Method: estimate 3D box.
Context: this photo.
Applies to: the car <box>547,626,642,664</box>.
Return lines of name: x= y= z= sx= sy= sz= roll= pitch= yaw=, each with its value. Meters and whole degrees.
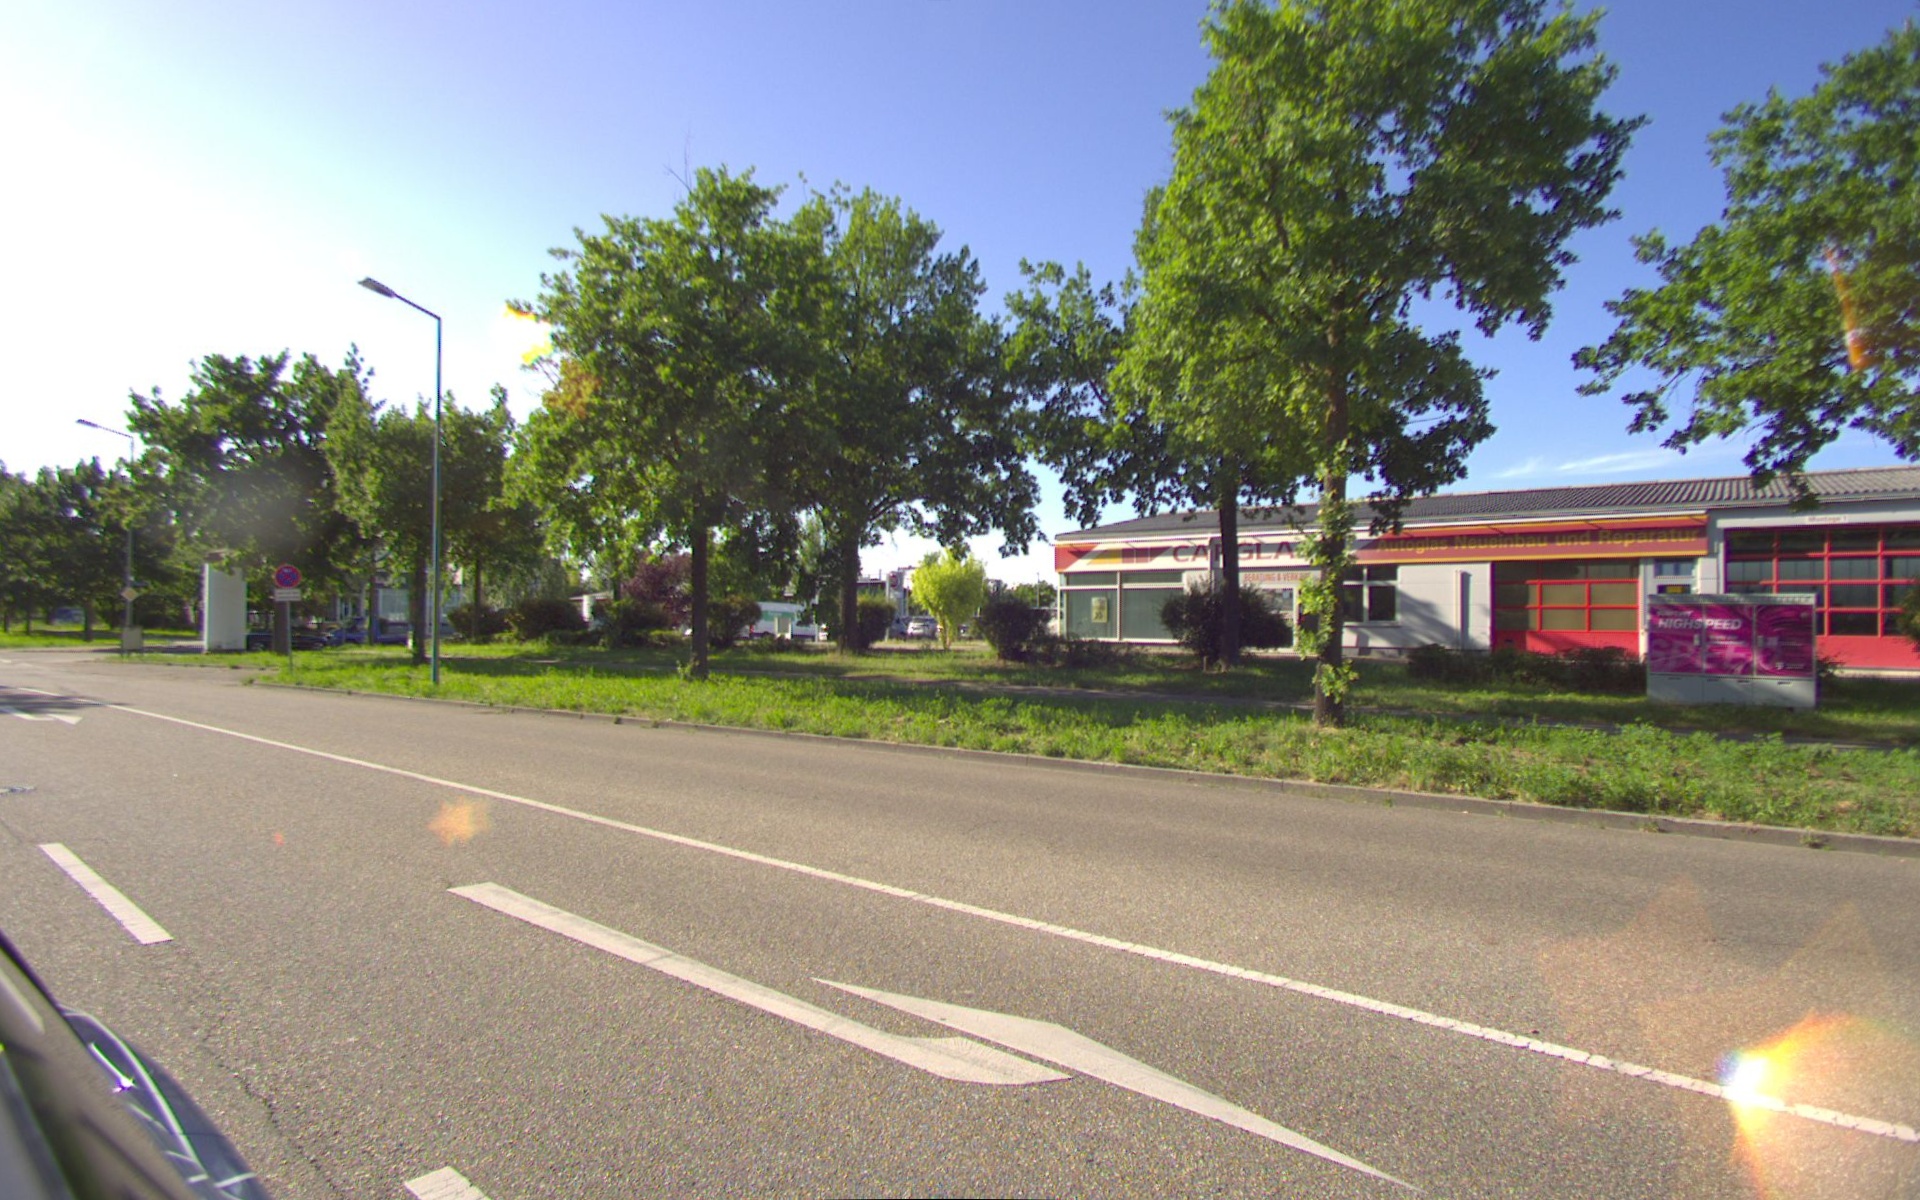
car: x=-26.631 y=3.234 z=73.979 sx=2.297 sy=2.535 sz=6.280 roll=0 pitch=0 yaw=37

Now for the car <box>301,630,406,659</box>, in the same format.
car: x=-33.616 y=2.489 z=56.167 sx=1.996 sy=1.414 sz=4.531 roll=-1 pitch=-5 yaw=36

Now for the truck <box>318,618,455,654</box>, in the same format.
truck: x=-35.139 y=2.230 z=62.293 sx=2.138 sy=2.065 sz=7.043 roll=0 pitch=-2 yaw=38

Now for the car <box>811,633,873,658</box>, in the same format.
car: x=-6.808 y=2.607 z=58.617 sx=1.572 sy=1.312 sz=3.489 roll=-1 pitch=-1 yaw=38

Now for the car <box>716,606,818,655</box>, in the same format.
car: x=-11.483 y=1.761 z=60.621 sx=2.297 sy=2.723 sz=6.102 roll=0 pitch=0 yaw=37

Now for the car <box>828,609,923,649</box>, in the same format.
car: x=-4.608 y=1.602 z=56.132 sx=2.297 sy=2.085 sz=5.359 roll=-1 pitch=-2 yaw=37
